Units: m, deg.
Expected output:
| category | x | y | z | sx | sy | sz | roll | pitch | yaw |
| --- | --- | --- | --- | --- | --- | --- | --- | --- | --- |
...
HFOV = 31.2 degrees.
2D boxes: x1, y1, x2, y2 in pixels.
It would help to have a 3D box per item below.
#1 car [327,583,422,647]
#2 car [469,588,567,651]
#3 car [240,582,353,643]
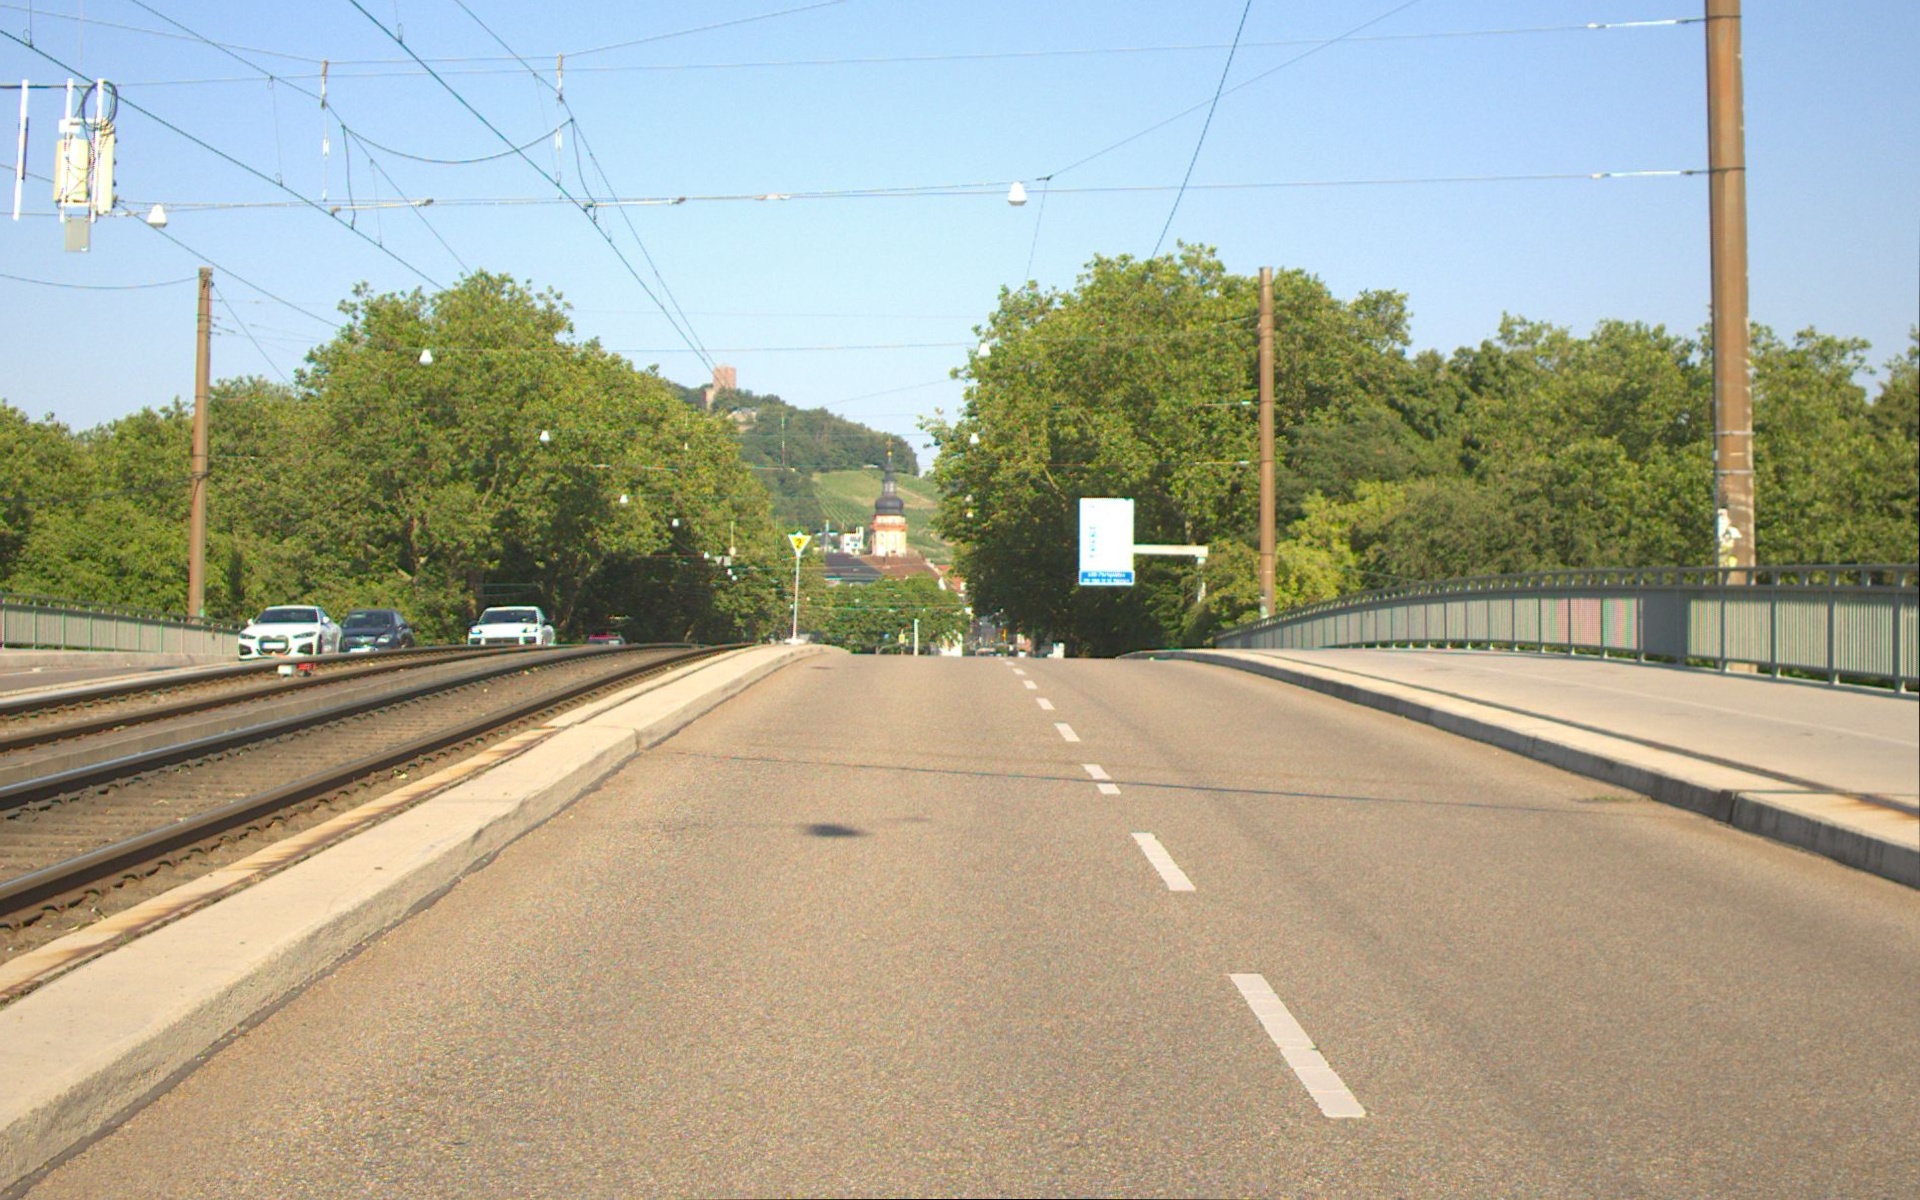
| category | x | y | z | sx | sy | sz | roll | pitch | yaw |
| --- | --- | --- | --- | --- | --- | --- | --- | --- | --- |
| car | -15.522 | 0.380 | 91.309 | 1.779 | 1.645 | 4.447 | 1 | 0 | 0 |
| car | -11.904 | 0.511 | 92.847 | 2.001 | 1.631 | 5.090 | 1 | 0 | 0 |
| car | -15.335 | 0.283 | 79.642 | 1.684 | 1.352 | 4.920 | 1 | 0 | 0 |
